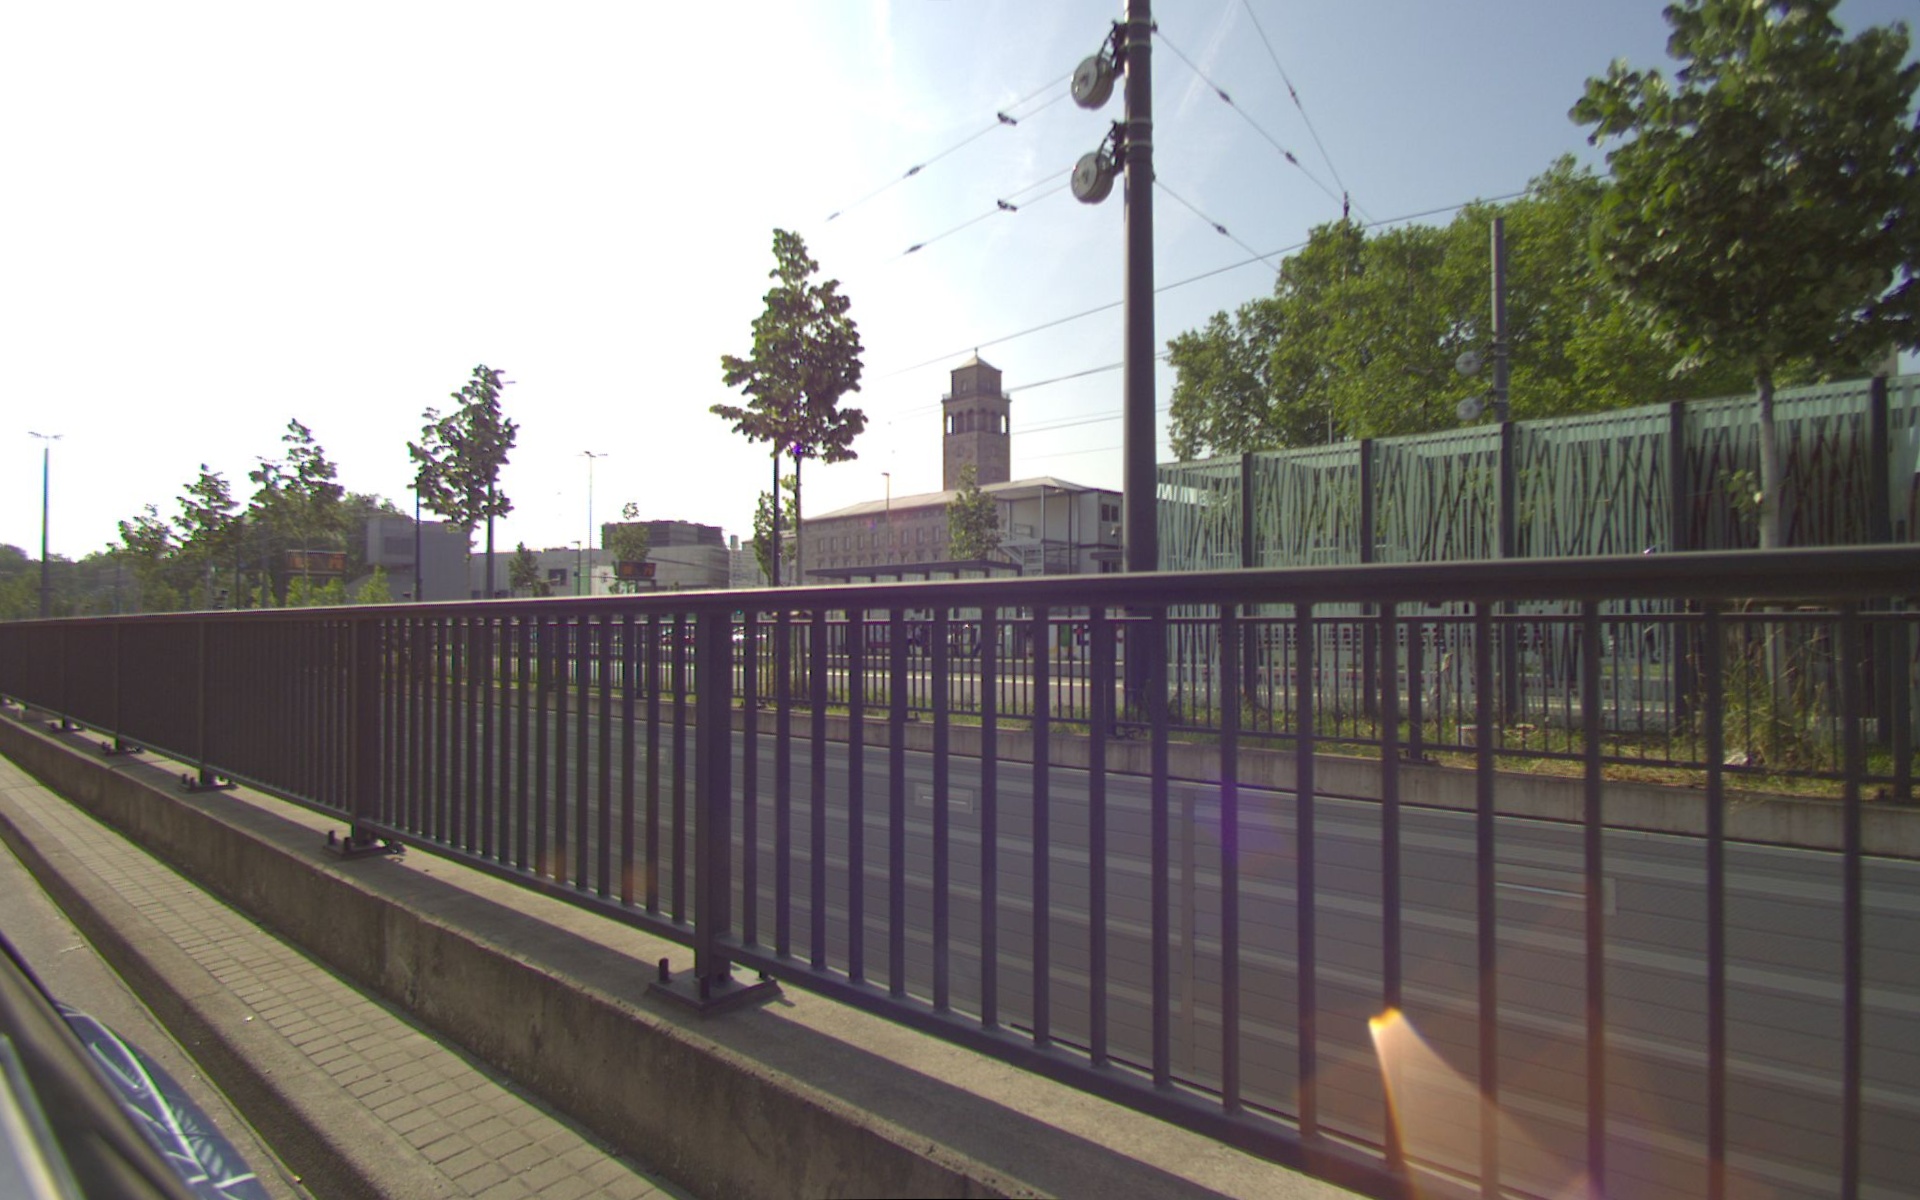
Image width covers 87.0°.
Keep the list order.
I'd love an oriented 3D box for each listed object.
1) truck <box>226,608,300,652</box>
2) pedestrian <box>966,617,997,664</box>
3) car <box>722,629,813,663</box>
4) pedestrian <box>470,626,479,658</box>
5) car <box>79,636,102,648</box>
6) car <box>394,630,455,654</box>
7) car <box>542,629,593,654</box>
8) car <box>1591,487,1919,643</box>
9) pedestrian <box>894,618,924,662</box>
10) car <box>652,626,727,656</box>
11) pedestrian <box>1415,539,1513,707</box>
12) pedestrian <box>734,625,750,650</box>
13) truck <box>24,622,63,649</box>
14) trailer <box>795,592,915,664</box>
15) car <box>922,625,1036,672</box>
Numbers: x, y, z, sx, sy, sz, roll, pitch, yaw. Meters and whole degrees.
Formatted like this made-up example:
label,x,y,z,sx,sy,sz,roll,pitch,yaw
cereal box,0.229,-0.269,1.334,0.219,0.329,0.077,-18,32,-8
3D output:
label,x,y,z,sx,sy,sz,roll,pitch,yaw
truck,-59.663,2.601,86.589,8.884,3.614,2.990,-3,-3,40
pedestrian,0.624,1.157,28.757,0.591,1.310,0.674,-2,-3,38
car,-8.653,2.052,45.368,4.400,1.481,1.626,-2,-3,40
pedestrian,-25.662,2.205,53.518,0.365,1.689,0.642,0,-2,-32
car,-115.198,5.585,134.059,3.996,1.614,1.623,-2,-3,39
car,-37.307,2.939,70.510,4.603,1.594,1.777,-2,-2,34
car,-24.046,2.506,61.962,3.432,1.474,1.579,-2,-2,42
car,21.331,-0.739,25.100,9.228,3.539,3.022,-2,-2,41
pedestrian,-1.524,1.194,30.451,0.591,1.310,0.674,-2,-3,38
car,-13.333,2.015,49.868,3.692,1.372,1.704,-2,-2,37
pedestrian,5.148,0.231,10.330,0.710,1.631,0.728,-2,-2,40
pedestrian,-14.827,2.548,68.819,0.554,1.747,1.006,1,-3,-45
truck,-137.819,5.377,152.149,10.414,3.838,2.941,-2,-3,40
trailer,-4.389,1.153,41.980,5.019,2.802,2.024,-2,-1,41
car,0.666,1.785,37.737,4.149,1.675,1.702,-2,-2,42
